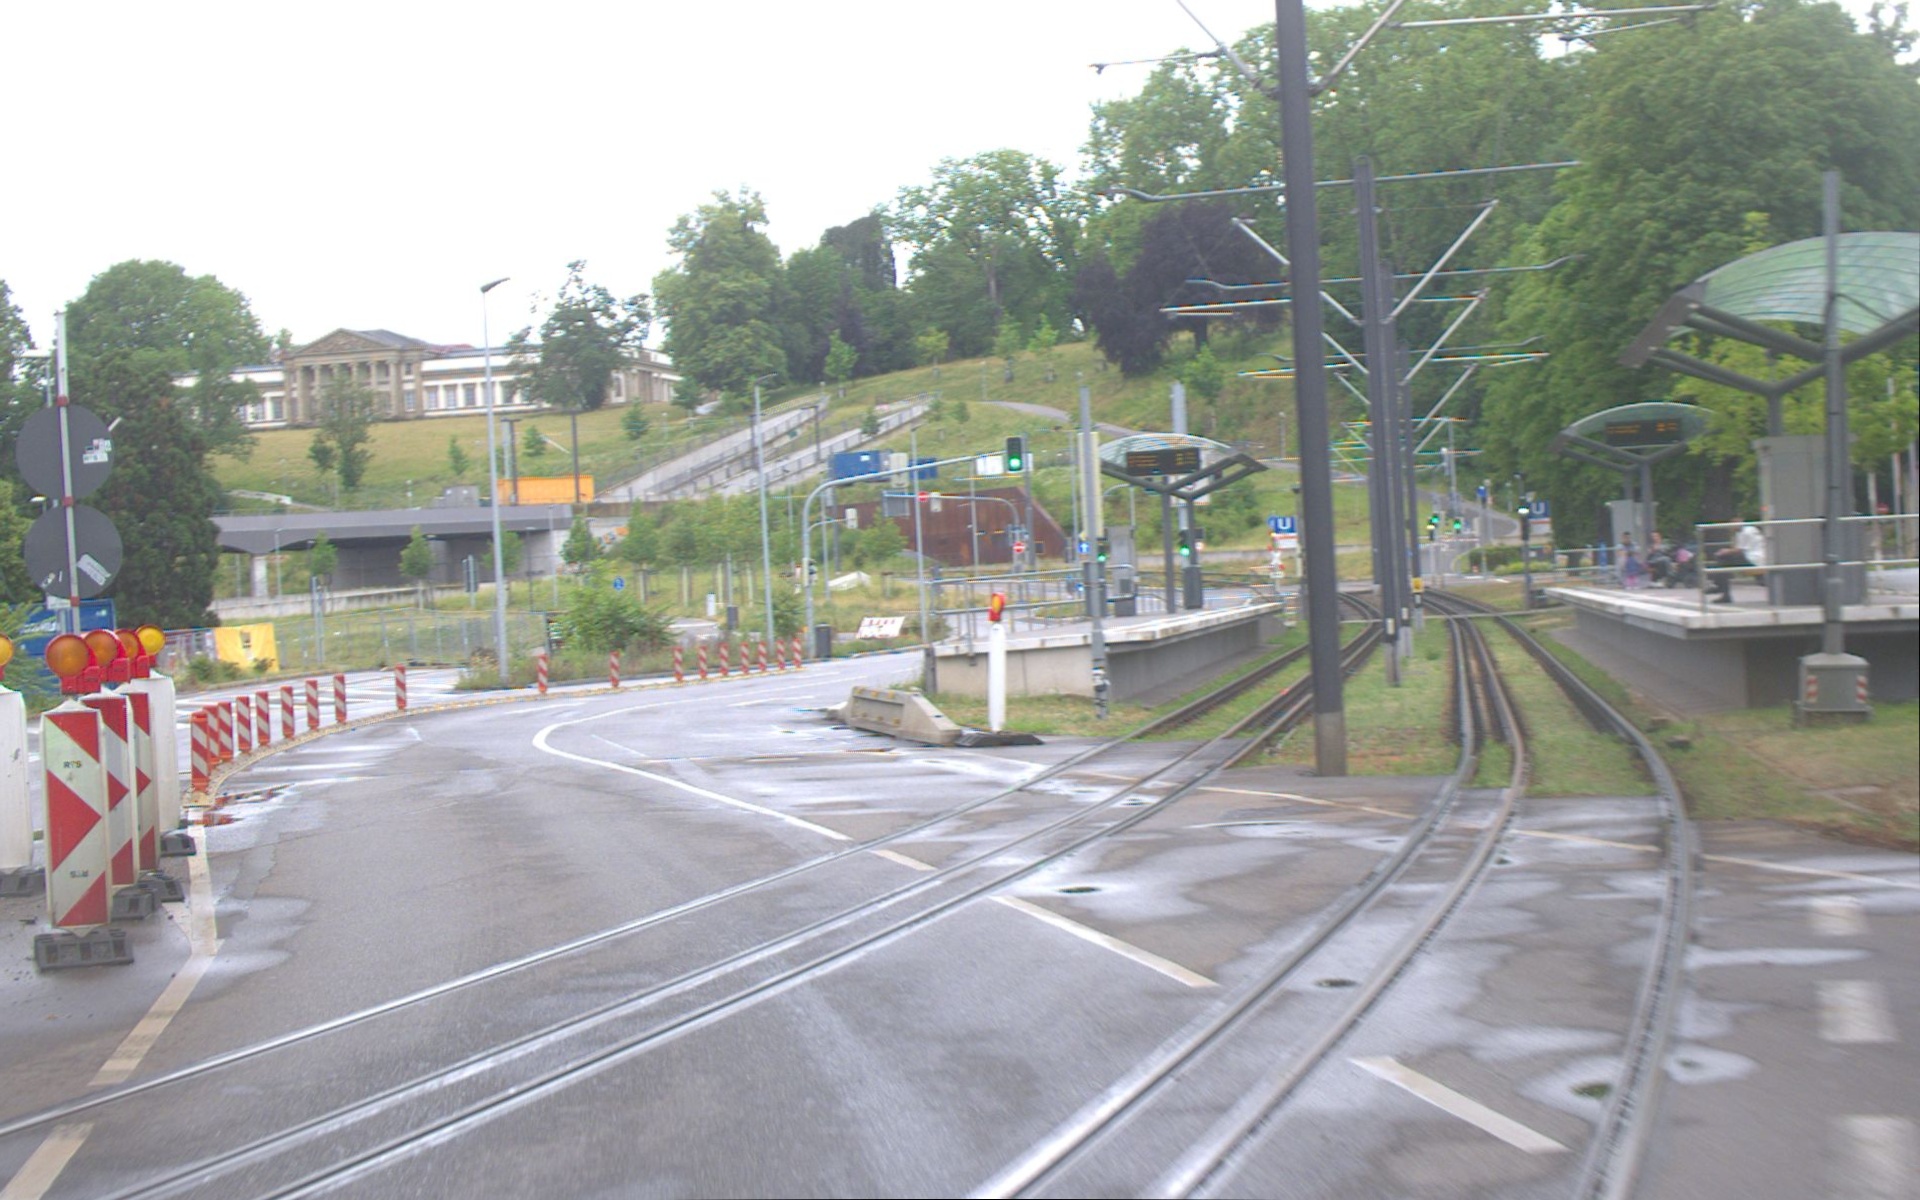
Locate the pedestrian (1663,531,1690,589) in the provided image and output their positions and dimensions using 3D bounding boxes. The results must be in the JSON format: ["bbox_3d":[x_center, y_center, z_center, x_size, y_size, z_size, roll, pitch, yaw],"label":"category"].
[{"bbox_3d":[15.433,-0.860,74.068,0.437,1.222,0.551,-5,0,9],"label":"pedestrian"}]

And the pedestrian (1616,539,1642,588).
[{"bbox_3d":[14.282,-0.787,73.419,0.437,1.005,0.551,-5,0,9],"label":"pedestrian"}]

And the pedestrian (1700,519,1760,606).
[{"bbox_3d":[10.009,-0.486,44.695,0.600,1.115,0.520,1,0,-8],"label":"pedestrian"}]

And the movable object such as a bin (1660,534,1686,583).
[{"bbox_3d":[15.150,-0.877,73.045,0.437,1.005,0.682,-5,0,9],"label":"movable object such as a bin"}]

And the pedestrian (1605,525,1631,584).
[{"bbox_3d":[14.190,-0.981,74.101,0.437,1.222,0.551,-5,0,9],"label":"pedestrian"}]

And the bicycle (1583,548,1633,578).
[{"bbox_3d":[25.414,-1.449,134.891,1.810,1.028,0.653,-4,1,6],"label":"bicycle"}]
